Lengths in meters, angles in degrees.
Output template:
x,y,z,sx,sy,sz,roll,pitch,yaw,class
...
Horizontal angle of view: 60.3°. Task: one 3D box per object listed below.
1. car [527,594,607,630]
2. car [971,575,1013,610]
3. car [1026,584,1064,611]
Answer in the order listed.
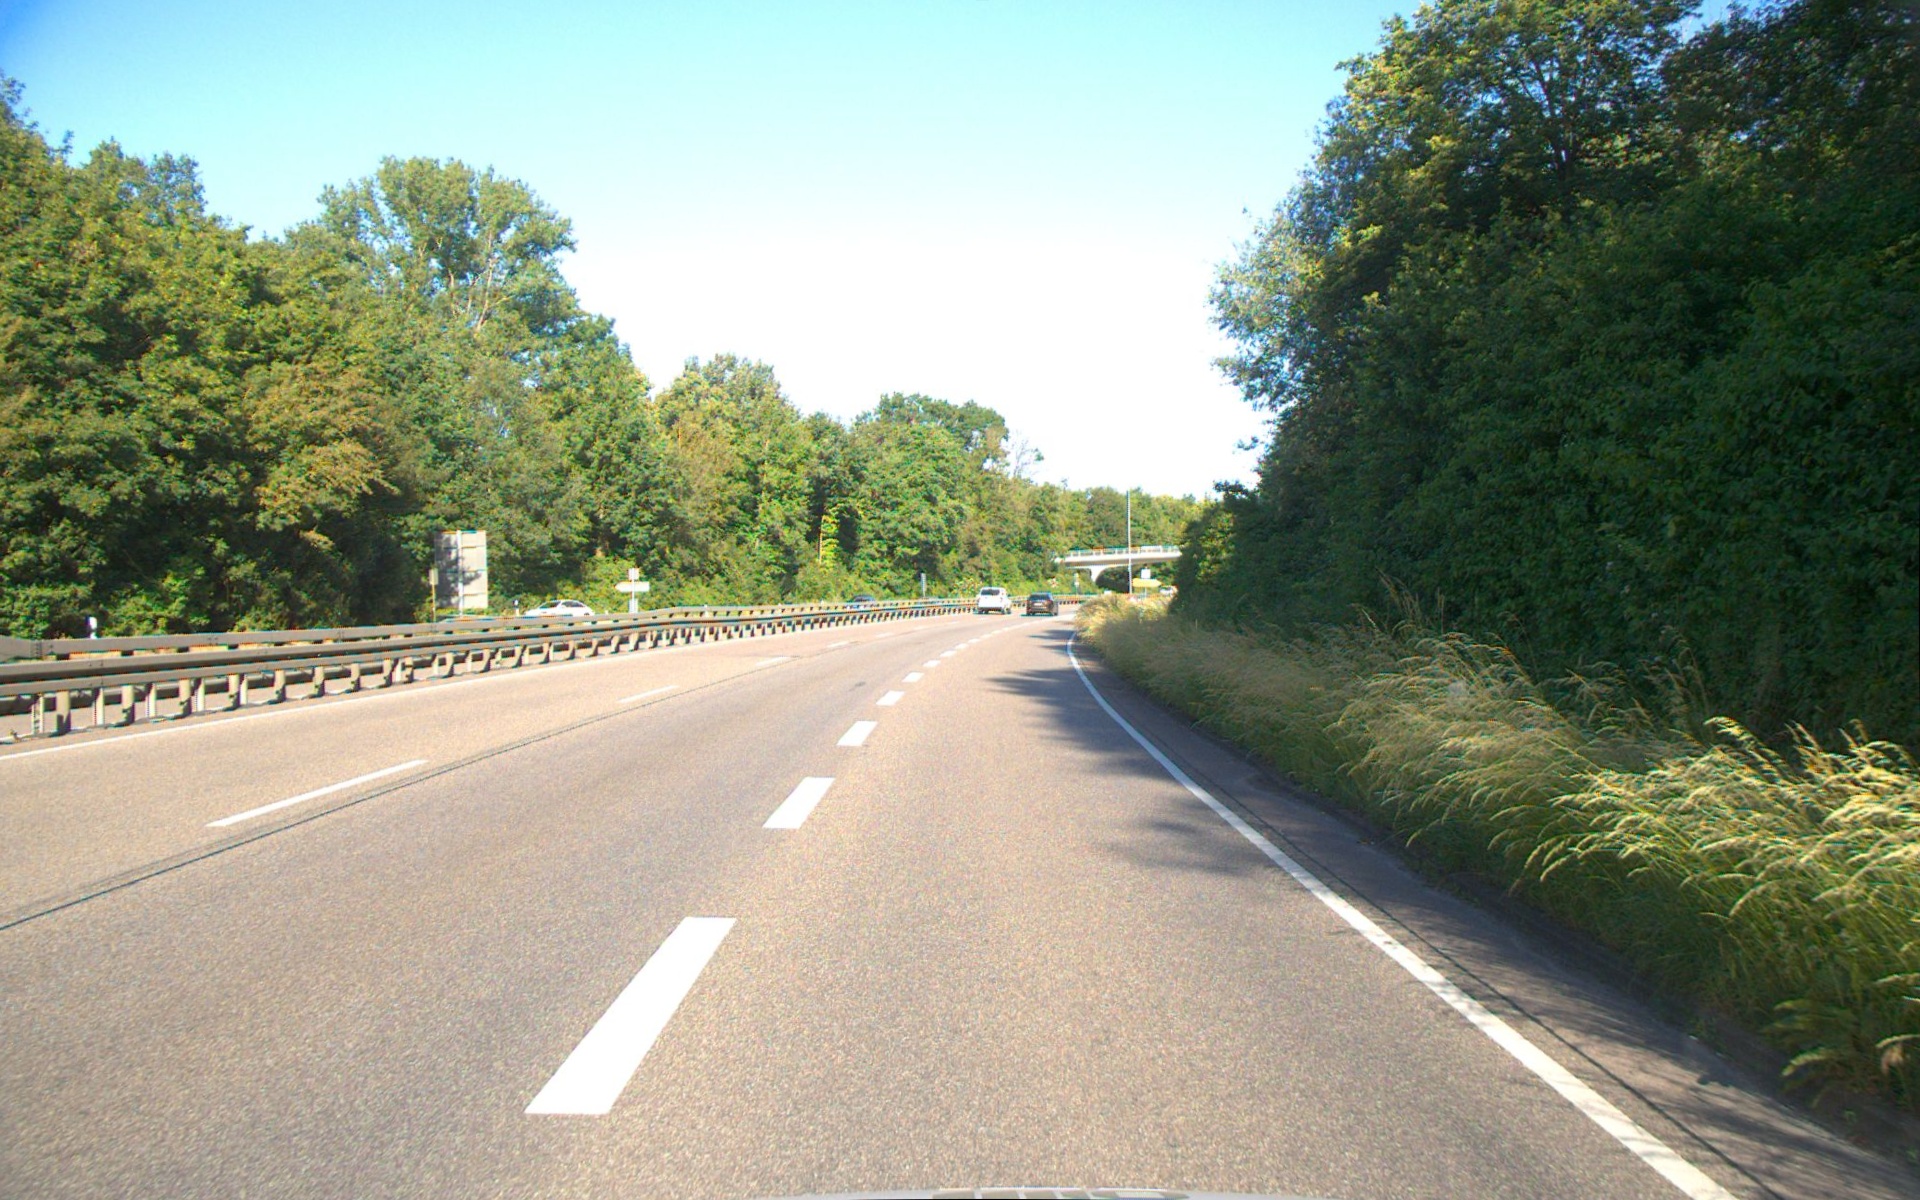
x,y,z,sx,sy,sz,roll,pitch,yaw,class
-22.952,0.708,96.841,1.956,2.049,4.620,0,-1,29,car
2.203,-0.499,111.710,1.951,2.317,4.003,-1,0,14,car
5.527,-0.179,107.255,1.702,1.691,3.949,-1,0,14,car
